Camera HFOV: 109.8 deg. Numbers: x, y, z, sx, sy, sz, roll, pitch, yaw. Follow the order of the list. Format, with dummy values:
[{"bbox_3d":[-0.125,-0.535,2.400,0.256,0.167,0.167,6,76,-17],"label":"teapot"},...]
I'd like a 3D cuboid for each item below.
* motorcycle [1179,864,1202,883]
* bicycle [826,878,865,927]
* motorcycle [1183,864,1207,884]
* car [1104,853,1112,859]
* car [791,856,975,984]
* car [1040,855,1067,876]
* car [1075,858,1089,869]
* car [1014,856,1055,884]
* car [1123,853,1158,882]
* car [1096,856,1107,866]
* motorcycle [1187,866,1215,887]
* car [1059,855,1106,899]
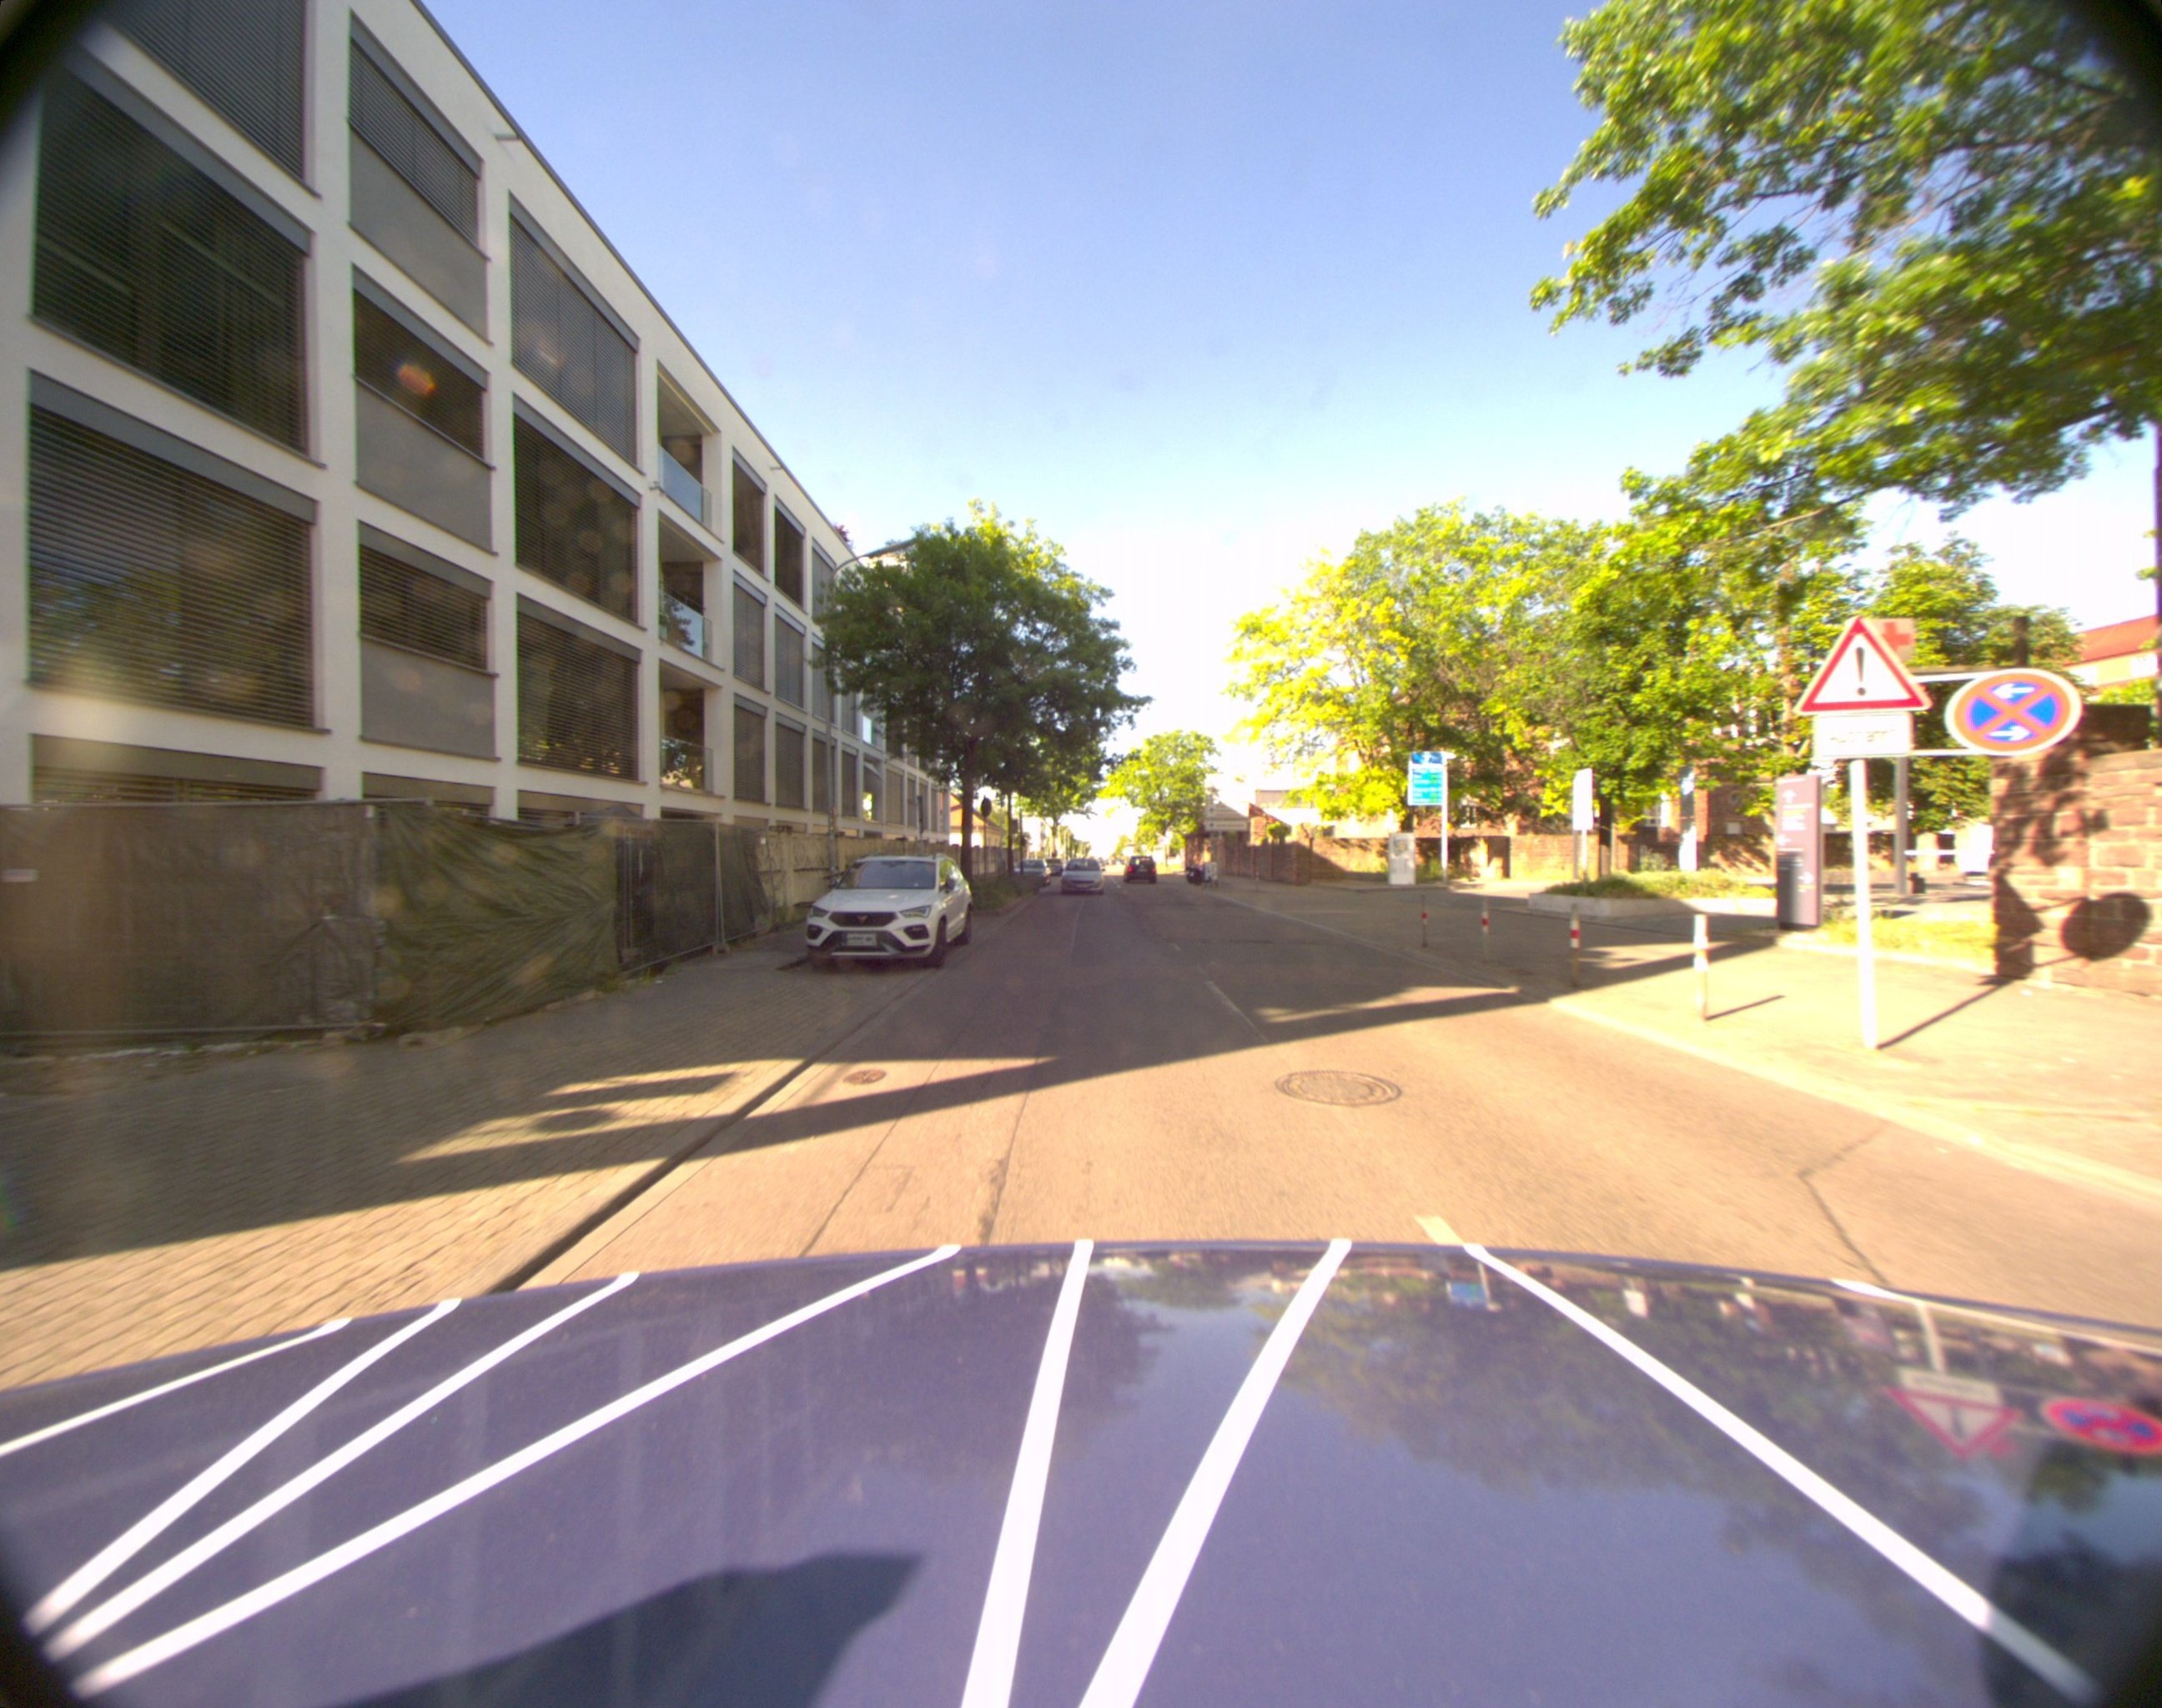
[{"bbox_3d":[6.411,1.156,44.373,0.530,1.033,2.095,-2,0,32],"label":"motorcycle"},{"bbox_3d":[-5.624,1.135,18.222,0.337,1.035,1.831,-1,0,1],"label":"bicycle"},{"bbox_3d":[6.441,1.110,42.923,0.530,1.033,2.095,-2,0,32],"label":"motorcycle"},{"bbox_3d":[7.534,0.526,210.192,1.998,1.406,4.000,-3,0,1],"label":"car"},{"bbox_3d":[-2.845,0.855,11.882,1.797,1.606,4.126,-1,0,-1],"label":"car"},{"bbox_3d":[-2.197,0.907,61.400,1.887,1.592,4.299,-1,0,1],"label":"car"},{"bbox_3d":[0.118,1.261,101.568,1.757,1.459,3.486,-2,0,0],"label":"car"},{"bbox_3d":[-2.429,0.825,40.572,1.724,1.402,4.763,-1,0,2],"label":"car"},{"bbox_3d":[3.491,0.789,44.823,1.648,1.602,4.020,1,0,-1],"label":"car"},{"bbox_3d":[3.876,1.261,142.787,1.834,1.732,4.000,-2,0,1],"label":"car"},{"bbox_3d":[6.347,1.183,40.055,0.599,1.026,2.132,-1,0,35],"label":"motorcycle"},{"bbox_3d":[0.114,0.897,31.486,1.747,1.613,4.107,-2,0,2],"label":"car"}]
